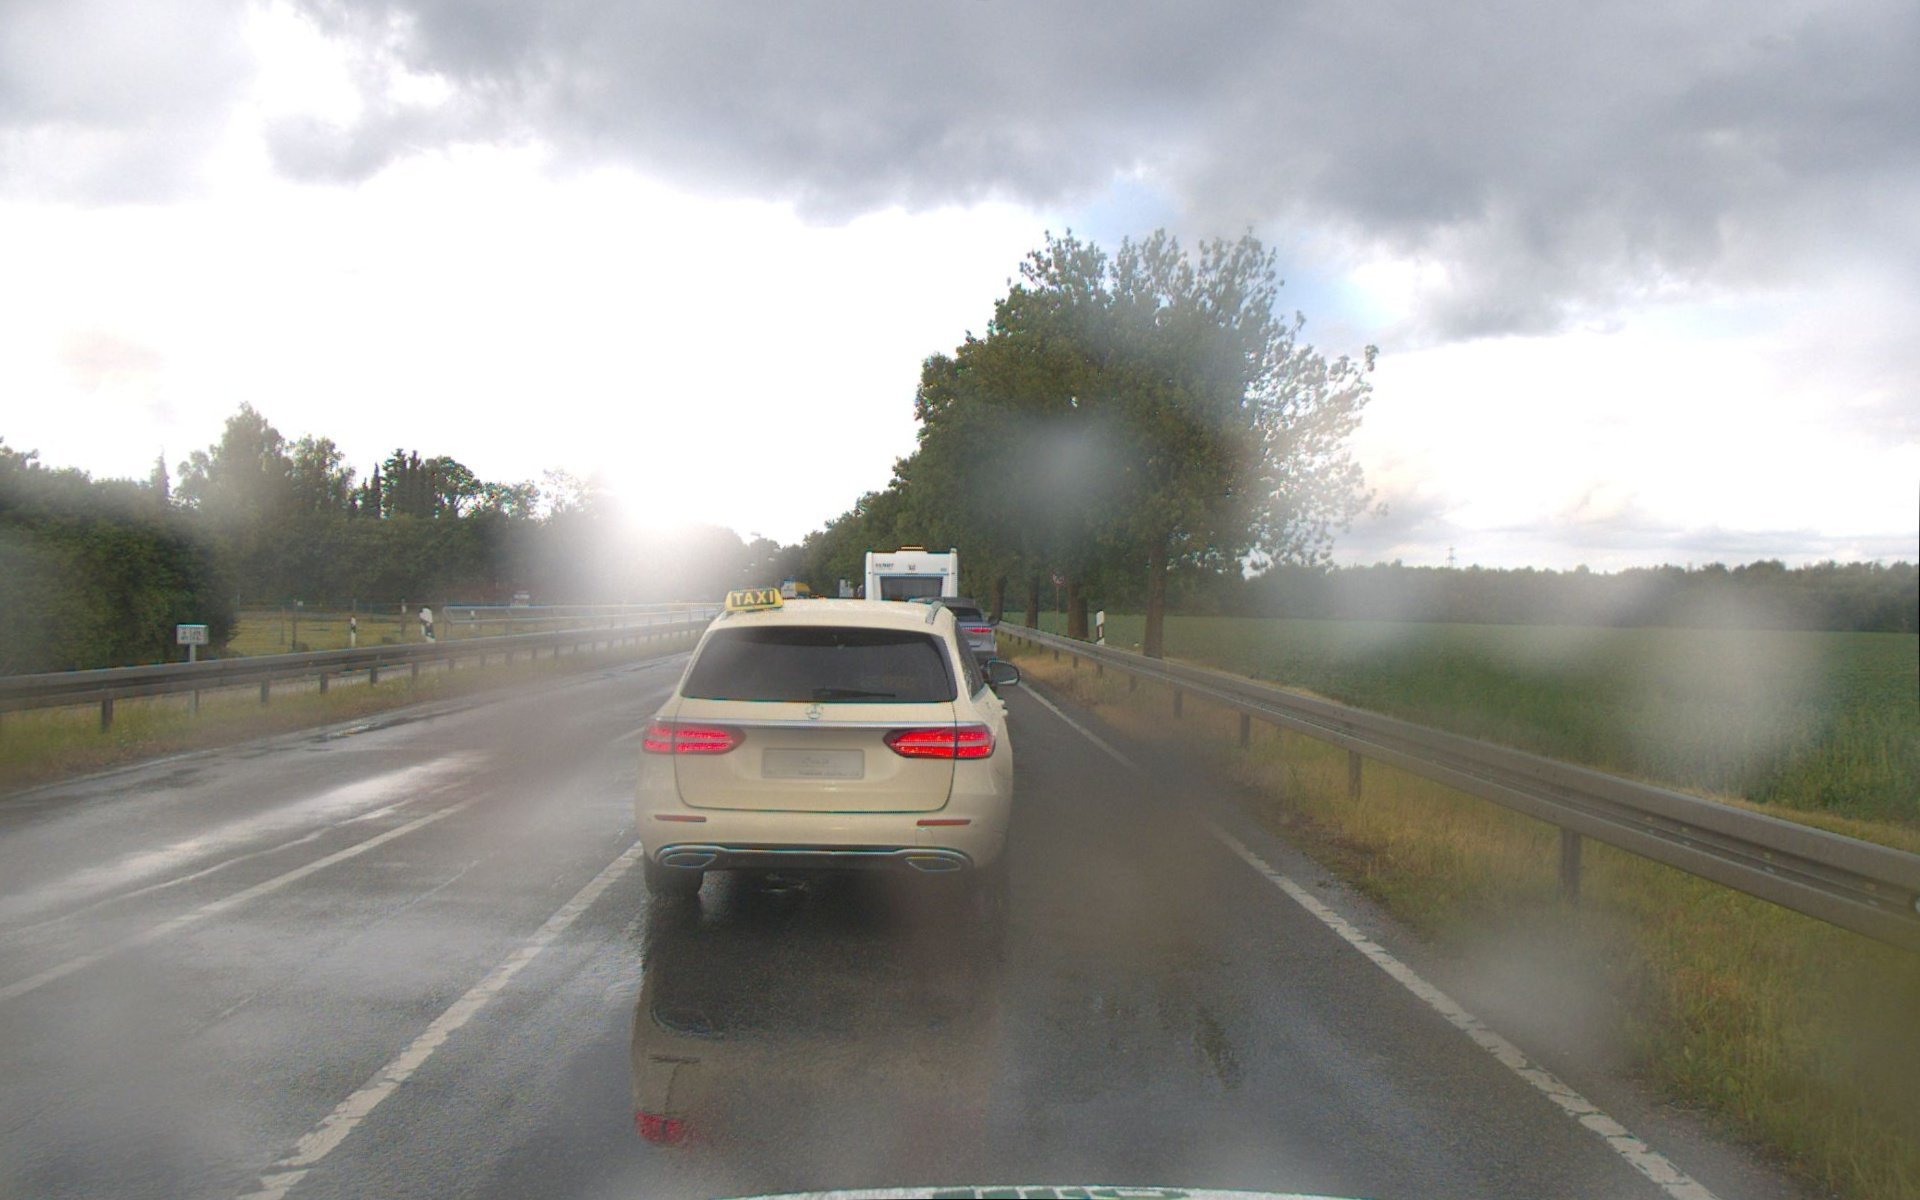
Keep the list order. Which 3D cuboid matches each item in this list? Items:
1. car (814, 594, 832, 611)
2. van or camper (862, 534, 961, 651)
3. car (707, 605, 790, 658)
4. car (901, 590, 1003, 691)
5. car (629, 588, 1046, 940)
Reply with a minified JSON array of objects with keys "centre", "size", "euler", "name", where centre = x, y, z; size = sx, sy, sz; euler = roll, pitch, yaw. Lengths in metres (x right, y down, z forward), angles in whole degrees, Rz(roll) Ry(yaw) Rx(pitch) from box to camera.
[{"centre":[-17.280,0.261,208.825],"size":[1.953,2.087,3.998],"euler":[1,0,-2],"name":"car"},{"centre":[-1.182,-0.194,42.104],"size":[2.303,2.727,5.767],"euler":[1,0,-1],"name":"van or camper"},{"centre":[-5.511,0.800,43.485],"size":[1.723,1.291,3.999],"euler":[1,0,-1],"name":"car"},{"centre":[-0.152,0.630,27.996],"size":[1.594,1.556,3.932],"euler":[1,0,-1],"name":"car"},{"centre":[-0.516,0.703,9.172],"size":[1.787,1.511,4.145],"euler":[0,0,0],"name":"car"}]
